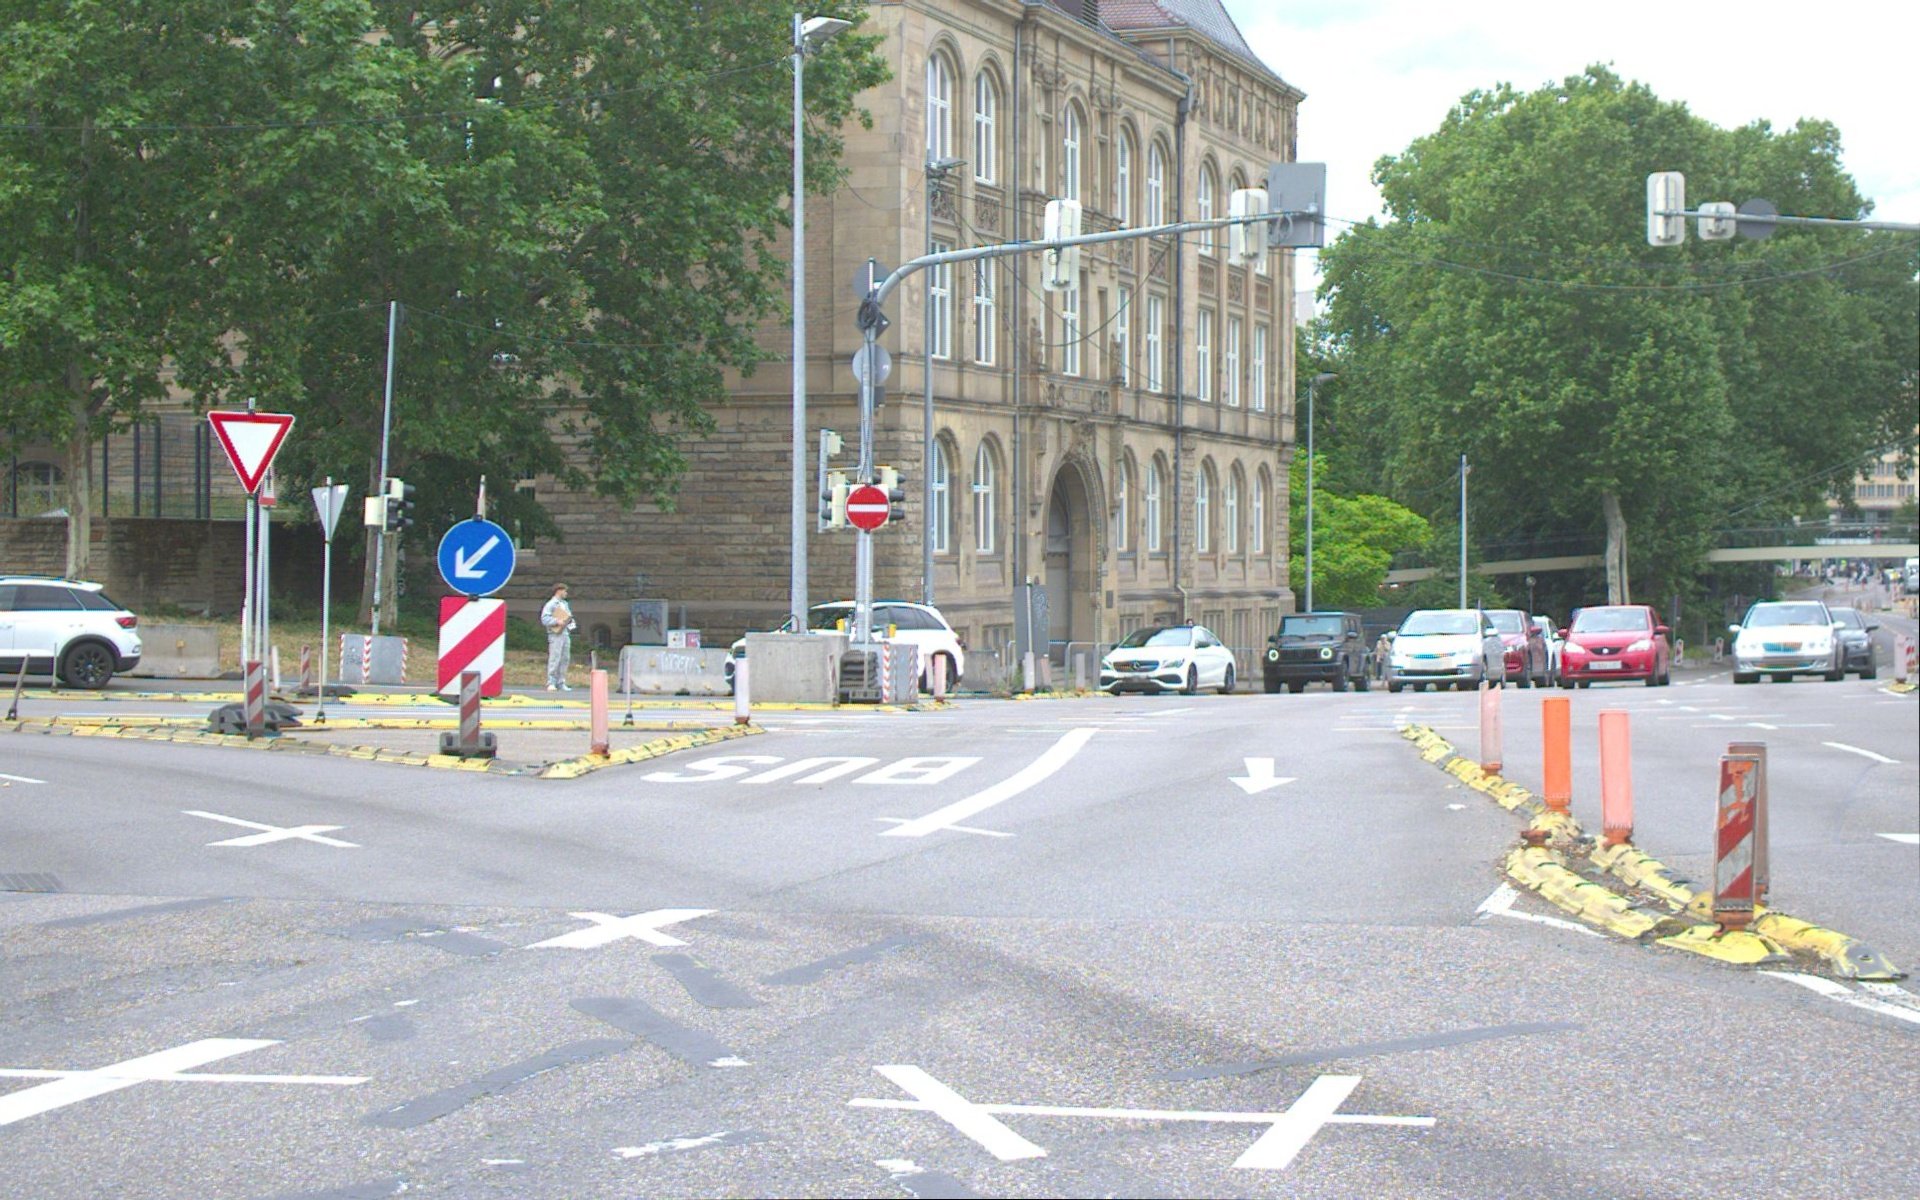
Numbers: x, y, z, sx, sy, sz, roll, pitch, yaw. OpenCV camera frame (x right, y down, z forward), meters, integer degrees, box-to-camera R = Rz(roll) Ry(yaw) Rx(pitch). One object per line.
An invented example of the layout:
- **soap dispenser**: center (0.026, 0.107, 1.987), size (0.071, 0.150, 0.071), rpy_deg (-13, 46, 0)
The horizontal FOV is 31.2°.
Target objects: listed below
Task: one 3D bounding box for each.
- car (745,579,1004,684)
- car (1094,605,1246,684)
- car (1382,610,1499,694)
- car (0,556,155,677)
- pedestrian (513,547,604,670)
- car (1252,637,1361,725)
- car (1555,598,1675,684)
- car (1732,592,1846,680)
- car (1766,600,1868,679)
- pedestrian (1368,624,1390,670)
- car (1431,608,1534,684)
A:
- **car**: center (-1.372, 0.489, 56.955), size (1.815, 1.637, 4.542), rpy_deg (2, 1, 38)
- **car**: center (4.173, 0.855, 67.778), size (1.736, 1.430, 4.376), rpy_deg (1, 1, 21)
- **car**: center (8.676, 0.952, 61.902), size (1.661, 1.431, 3.444), rpy_deg (-2, -2, 15)
- **car**: center (-13.854, 0.207, 49.030), size (4.316, 1.562, 1.757), rpy_deg (1, 4, -25)
- **pedestrian**: center (-6.640, 0.142, 56.793), size (1.190, 2.007, 1.204), rpy_deg (0, 0, -23)
- **car**: center (8.291, 1.960, 82.106), size (1.934, 1.932, 3.669), rpy_deg (-2, -4, 16)
- **car**: center (11.425, 0.697, 59.822), size (1.687, 1.430, 3.444), rpy_deg (-1, 0, 17)
- **car**: center (14.285, 0.612, 59.152), size (1.690, 1.430, 3.444), rpy_deg (-2, -1, 17)
- **car**: center (16.427, 0.752, 65.823), size (1.690, 1.430, 3.444), rpy_deg (-2, -1, 17)
- **pedestrian**: center (14.714, 1.647, 120.727), size (0.660, 1.630, 0.850), rpy_deg (0, 0, 13)
- **car**: center (10.468, 0.901, 68.713), size (1.661, 1.430, 3.444), rpy_deg (1, 0, 15)
